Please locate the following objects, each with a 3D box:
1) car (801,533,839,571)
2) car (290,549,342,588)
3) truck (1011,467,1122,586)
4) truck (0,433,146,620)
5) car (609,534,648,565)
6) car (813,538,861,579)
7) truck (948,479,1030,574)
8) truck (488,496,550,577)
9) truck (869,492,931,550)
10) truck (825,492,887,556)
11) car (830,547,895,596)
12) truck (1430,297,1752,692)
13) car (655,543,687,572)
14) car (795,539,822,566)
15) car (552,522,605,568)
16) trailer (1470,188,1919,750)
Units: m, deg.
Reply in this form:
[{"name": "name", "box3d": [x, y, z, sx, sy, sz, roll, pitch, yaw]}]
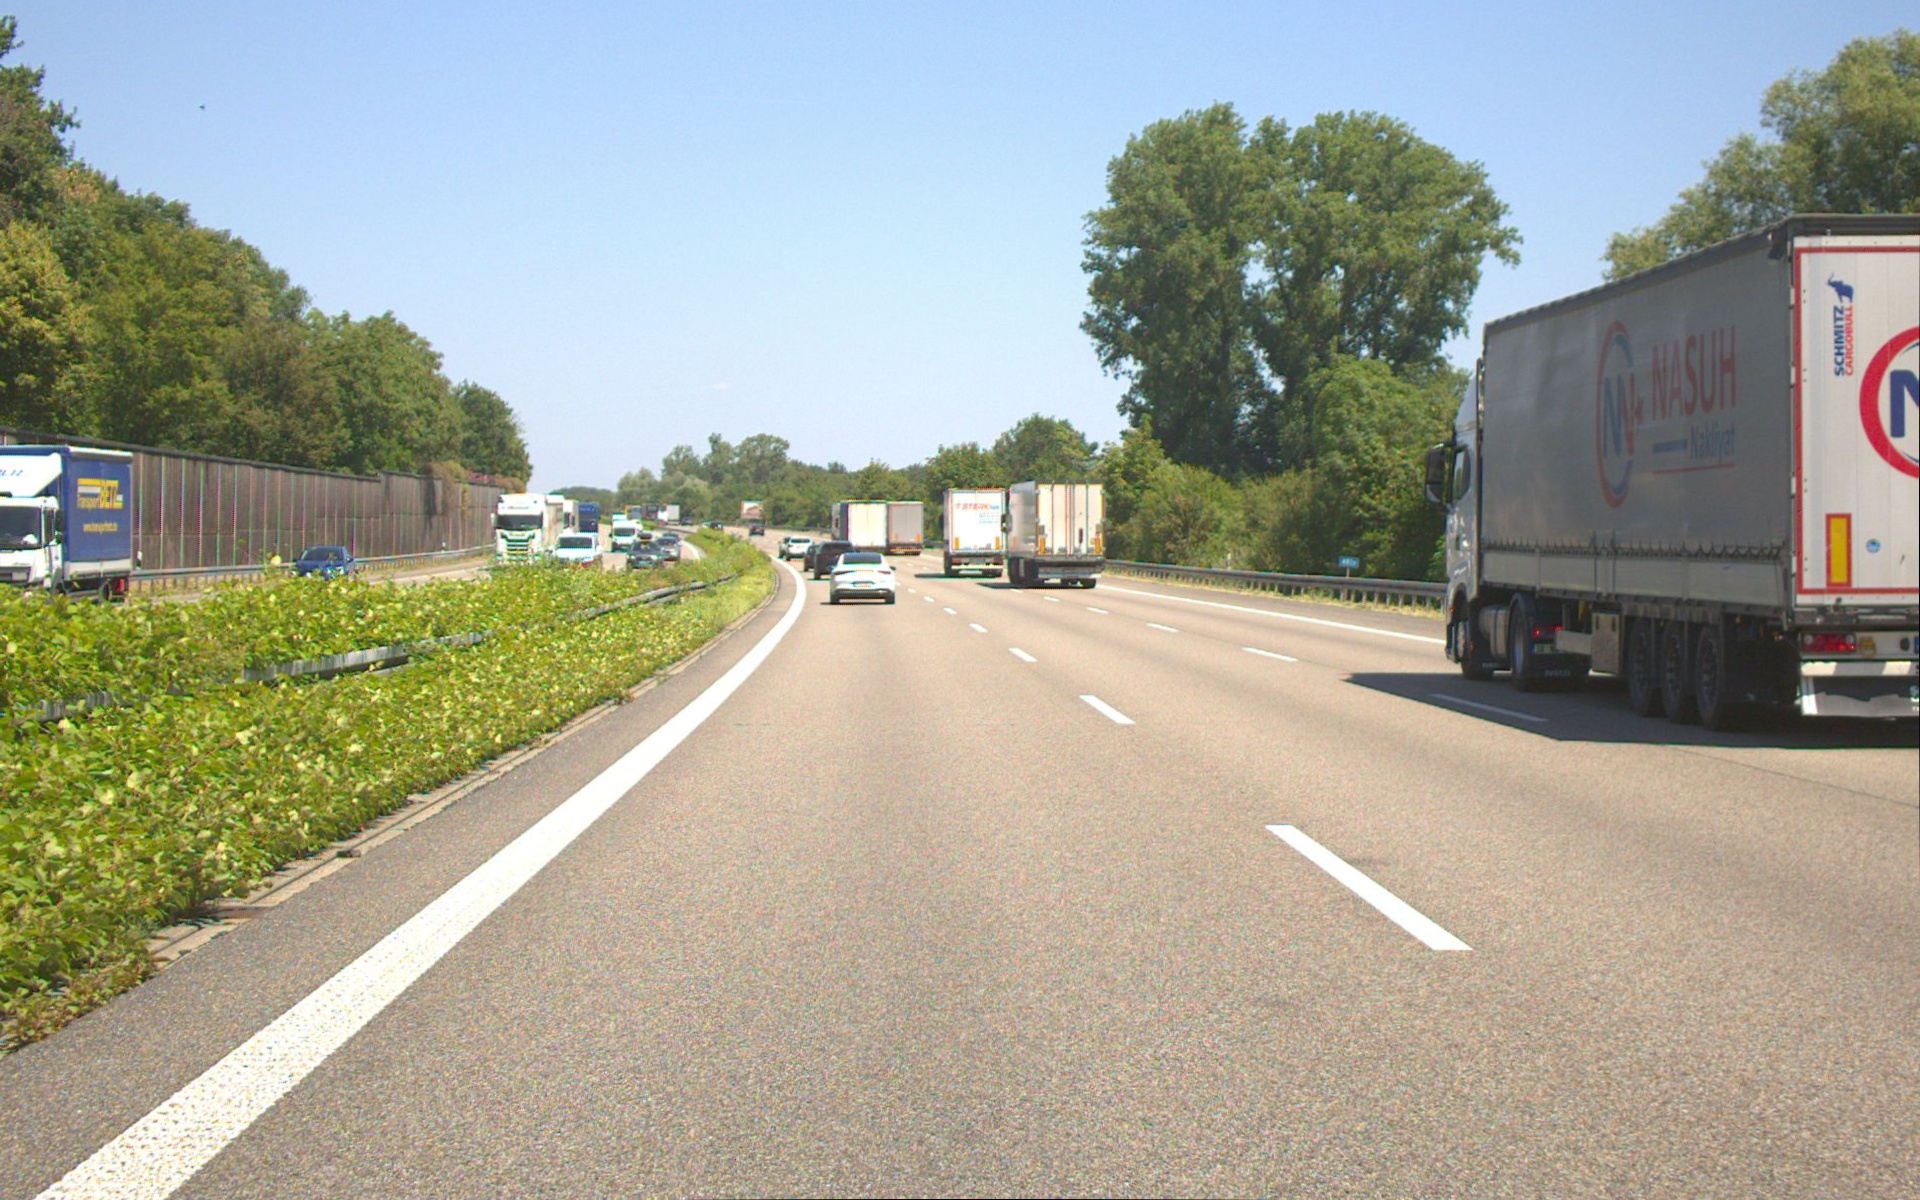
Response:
[{"name": "car", "box3d": [-7.460, -2.577, 182.905, 1.993, 2.007, 4.001, 0, 1, -3]}, {"name": "car", "box3d": [-21.039, -1.034, 112.422, 1.279, 1.251, 3.029, 0, 1, -3]}, {"name": "truck", "box3d": [3.971, -2.758, 131.090, 3.492, 4.296, 10.989, 1, 1, -2]}, {"name": "truck", "box3d": [-18.956, -1.484, 70.463, 2.832, 3.597, 8.746, 0, 1, -3]}, {"name": "car", "box3d": [-16.567, -2.545, 171.946, 1.713, 1.538, 4.362, 0, 1, -3]}, {"name": "car", "box3d": [-5.482, -1.845, 152.427, 1.993, 1.766, 4.001, 0, 1, -4]}, {"name": "truck", "box3d": [1.285, -3.396, 161.621, 3.359, 4.296, 10.829, 1, 1, -2]}, {"name": "truck", "box3d": [-23.298, -3.353, 181.679, 2.730, 4.178, 6.037, 1, 1, -3]}, {"name": "truck", "box3d": [-4.672, -5.974, 263.371, 3.829, 4.296, 11.556, 0, 1, -6]}, {"name": "truck", "box3d": [-7.287, -5.239, 239.293, 3.579, 4.296, 12.193, 0, 1, -5]}, {"name": "car", "box3d": [-2.743, -0.818, 97.554, 1.715, 1.365, 3.375, 0, 1, 0]}, {"name": "truck", "box3d": [7.239, -1.183, 40.152, 2.605, 4.272, 5.436, 1, 1, -1]}, {"name": "car", "box3d": [-17.306, -2.554, 206.005, 1.766, 1.646, 4.039, 0, 1, -2]}, {"name": "car", "box3d": [-10.171, -3.191, 230.649, 1.723, 1.777, 4.001, 0, 1, -3]}, {"name": "car", "box3d": [-16.272, -2.353, 146.818, 1.926, 1.939, 4.609, 0, 1, -2]}, {"name": "trailer", "box3d": [7.360, -1.070, 33.053, 2.624, 4.246, 14.061, 1, 1, -1]}]
